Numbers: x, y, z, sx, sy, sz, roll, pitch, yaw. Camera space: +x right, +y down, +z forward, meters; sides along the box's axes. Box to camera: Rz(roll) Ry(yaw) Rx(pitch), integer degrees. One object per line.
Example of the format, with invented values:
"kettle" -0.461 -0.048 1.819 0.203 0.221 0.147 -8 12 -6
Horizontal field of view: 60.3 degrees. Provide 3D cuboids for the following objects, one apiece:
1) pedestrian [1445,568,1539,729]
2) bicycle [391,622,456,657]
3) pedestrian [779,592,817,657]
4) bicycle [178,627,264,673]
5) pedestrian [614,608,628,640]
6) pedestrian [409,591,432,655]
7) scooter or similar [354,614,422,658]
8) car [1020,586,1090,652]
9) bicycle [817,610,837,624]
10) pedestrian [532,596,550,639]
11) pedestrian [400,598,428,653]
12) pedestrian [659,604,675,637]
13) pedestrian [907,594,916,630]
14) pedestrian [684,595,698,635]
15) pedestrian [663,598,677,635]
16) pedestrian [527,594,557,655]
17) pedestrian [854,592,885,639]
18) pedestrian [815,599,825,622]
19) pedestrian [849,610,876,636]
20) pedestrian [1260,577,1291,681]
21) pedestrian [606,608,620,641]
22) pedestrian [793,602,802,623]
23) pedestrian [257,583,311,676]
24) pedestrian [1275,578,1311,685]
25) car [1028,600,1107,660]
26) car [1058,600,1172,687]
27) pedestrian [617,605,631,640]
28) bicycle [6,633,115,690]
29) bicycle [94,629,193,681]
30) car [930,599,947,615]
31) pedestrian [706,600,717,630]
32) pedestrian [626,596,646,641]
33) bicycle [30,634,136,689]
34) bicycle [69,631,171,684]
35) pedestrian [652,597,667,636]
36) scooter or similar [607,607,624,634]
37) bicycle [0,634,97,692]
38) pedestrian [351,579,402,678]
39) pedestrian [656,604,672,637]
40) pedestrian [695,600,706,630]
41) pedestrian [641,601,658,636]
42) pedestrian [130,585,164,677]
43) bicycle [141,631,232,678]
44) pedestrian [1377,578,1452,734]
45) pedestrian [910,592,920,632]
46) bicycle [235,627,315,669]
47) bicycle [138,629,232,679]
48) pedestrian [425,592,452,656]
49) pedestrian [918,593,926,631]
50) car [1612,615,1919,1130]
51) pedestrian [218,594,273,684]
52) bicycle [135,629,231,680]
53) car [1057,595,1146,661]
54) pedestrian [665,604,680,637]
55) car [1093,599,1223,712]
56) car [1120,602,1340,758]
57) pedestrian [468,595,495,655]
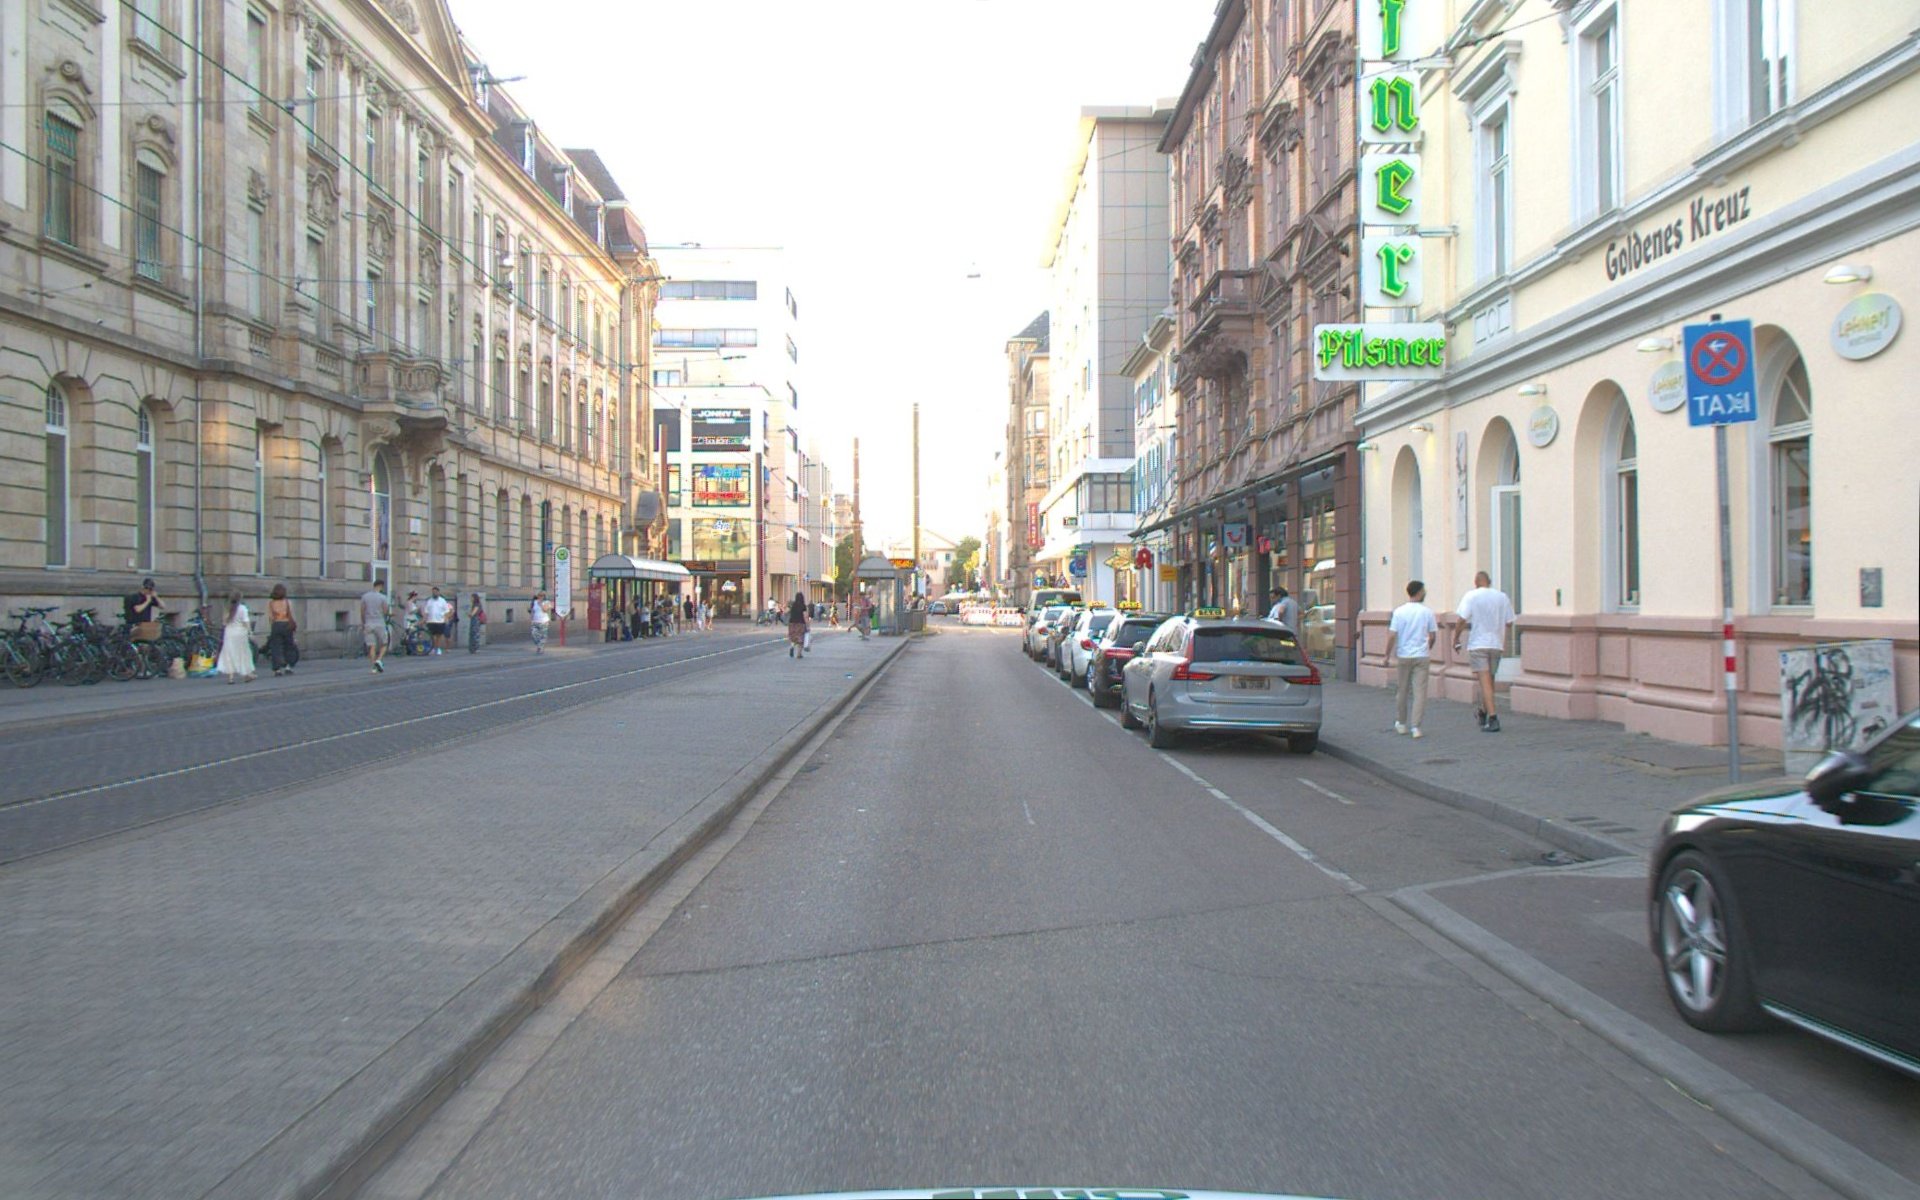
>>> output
"pedestrian" 5.980 0.537 18.602 0.744 1.718 0.551 -5 0 -1
"bicycle" -14.031 1.038 43.239 1.542 0.889 0.451 1 -1 4
"pedestrian" -3.889 0.581 39.758 0.829 1.527 0.901 0 0 -1
"bicycle" -15.065 1.014 33.735 1.542 0.889 0.451 1 -1 4
"pedestrian" -11.998 0.863 58.524 0.357 1.122 0.430 1 -1 5
"pedestrian" -14.281 0.617 43.822 0.328 1.671 0.606 1 -1 6
"scooter or similar" -14.268 0.895 41.246 1.514 1.087 0.451 1 -1 4
"car" 2.977 0.621 52.881 1.838 1.957 4.698 2 -1 -1
"bicycle" -11.293 1.455 140.708 1.661 1.141 0.451 1 -1 1
"pedestrian" -15.756 0.663 62.189 0.648 1.589 0.677 0 0 -15
"pedestrian" -14.727 0.693 44.607 0.432 1.465 0.570 0 -1 36
"pedestrian" -12.074 0.838 68.222 0.507 1.350 0.638 0 -1 3
"pedestrian" -2.284 0.554 77.736 0.378 1.671 0.549 1 -1 -3
"pedestrian" -12.223 0.684 75.181 0.548 1.807 0.468 0 0 -5
"pedestrian" -12.649 0.729 72.148 0.507 1.597 0.638 0 -1 3
"pedestrian" -11.098 0.645 43.919 0.646 1.589 0.679 0 0 -1
"pedestrian" -3.185 0.540 58.174 0.675 1.666 0.856 0 -1 40
"pedestrian" -10.996 0.855 129.908 0.766 1.782 0.600 1 -1 -4
"pedestrian" -3.721 0.873 63.205 0.782 0.955 0.693 0 0 22
"pedestrian" 5.548 0.502 29.111 0.365 1.799 0.455 -2 0 -4
"pedestrian" -12.145 0.854 57.936 0.357 1.122 0.430 1 -1 5
"pedestrian" -12.883 0.989 130.943 0.635 1.703 0.530 -1 0 7
"pedestrian" -12.848 0.554 31.449 0.678 1.742 0.815 0 0 -1
"pedestrian" 5.752 0.538 28.587 0.365 1.799 0.663 -2 0 -4
"car" 2.935 0.798 46.122 1.769 1.509 4.777 2 0 -1
"car" 2.980 0.825 32.716 1.697 1.537 4.864 2 -1 -1
"pedestrian" -12.048 0.802 59.370 0.357 1.221 0.430 1 -1 5
"bicycle" -14.754 1.008 27.145 1.542 0.889 0.451 1 -1 4
"bicycle" -14.537 0.975 29.466 1.542 0.889 0.451 1 -1 4
"car" -2.631 0.837 200.345 1.953 1.937 3.999 1 -1 -1
"pedestrian" -12.879 0.758 85.672 0.517 1.552 0.500 0 0 -15
"pedestrian" -12.233 0.708 62.439 0.507 1.679 0.638 -1 -1 21
"bicycle" -14.696 1.025 27.731 1.542 0.889 0.451 1 -1 4
"bicycle" -14.638 1.002 28.828 1.542 0.889 0.451 1 -1 4
"pedestrian" -12.983 0.698 71.377 0.507 1.674 0.638 0 -1 3
"scooter or similar" -16.040 0.954 77.096 0.476 1.202 1.293 1 -1 1
"bicycle" -14.718 1.001 26.499 1.542 0.889 0.451 1 -1 4
"pedestrian" -11.063 0.530 31.358 0.678 1.844 0.814 0 0 -1
"pedestrian" -12.065 0.829 67.455 0.507 1.350 0.638 0 -1 3
"pedestrian" -13.407 0.764 85.469 0.510 1.552 0.499 0 0 -17
"pedestrian" -12.177 0.733 64.844 0.507 1.350 0.638 0 -1 3
"pedestrian" -14.779 0.563 30.066 0.357 1.662 0.430 1 -1 5
"bicycle" -15.012 1.052 32.111 1.542 0.889 0.451 1 -1 4
"pedestrian" 5.205 0.638 18.930 0.607 1.718 0.485 -5 0 29
"pedestrian" -2.034 0.536 74.729 0.404 1.798 0.594 1 -1 -3
"bicycle" -14.746 1.031 35.611 1.542 0.889 0.451 1 -1 4
"bicycle" -14.508 1.009 30.967 1.542 0.889 0.451 1 -1 4
"pedestrian" -13.829 0.640 43.830 0.466 1.671 0.563 1 -1 5
"pedestrian" -1.861 0.593 80.563 0.335 1.827 0.544 1 -1 -3
"car" 3.512 0.754 4.422 1.662 1.414 4.546 -2 -1 -1
"pedestrian" -11.968 0.650 27.726 0.678 1.492 0.556 0 0 -1
"bicycle" -14.205 0.990 30.232 1.542 0.889 0.451 1 -1 4
"car" 3.396 0.668 40.454 1.691 1.503 4.819 1 -1 -1
"pedestrian" -12.009 0.849 69.094 0.507 1.350 0.638 0 -1 3
"car" 3.099 0.847 26.627 1.697 1.618 4.443 2 -1 2
"car" 3.064 0.845 19.726 1.769 1.501 4.693 1 1 -1
"pedestrian" -13.215 0.685 45.682 0.559 1.633 0.440 0 -1 26
